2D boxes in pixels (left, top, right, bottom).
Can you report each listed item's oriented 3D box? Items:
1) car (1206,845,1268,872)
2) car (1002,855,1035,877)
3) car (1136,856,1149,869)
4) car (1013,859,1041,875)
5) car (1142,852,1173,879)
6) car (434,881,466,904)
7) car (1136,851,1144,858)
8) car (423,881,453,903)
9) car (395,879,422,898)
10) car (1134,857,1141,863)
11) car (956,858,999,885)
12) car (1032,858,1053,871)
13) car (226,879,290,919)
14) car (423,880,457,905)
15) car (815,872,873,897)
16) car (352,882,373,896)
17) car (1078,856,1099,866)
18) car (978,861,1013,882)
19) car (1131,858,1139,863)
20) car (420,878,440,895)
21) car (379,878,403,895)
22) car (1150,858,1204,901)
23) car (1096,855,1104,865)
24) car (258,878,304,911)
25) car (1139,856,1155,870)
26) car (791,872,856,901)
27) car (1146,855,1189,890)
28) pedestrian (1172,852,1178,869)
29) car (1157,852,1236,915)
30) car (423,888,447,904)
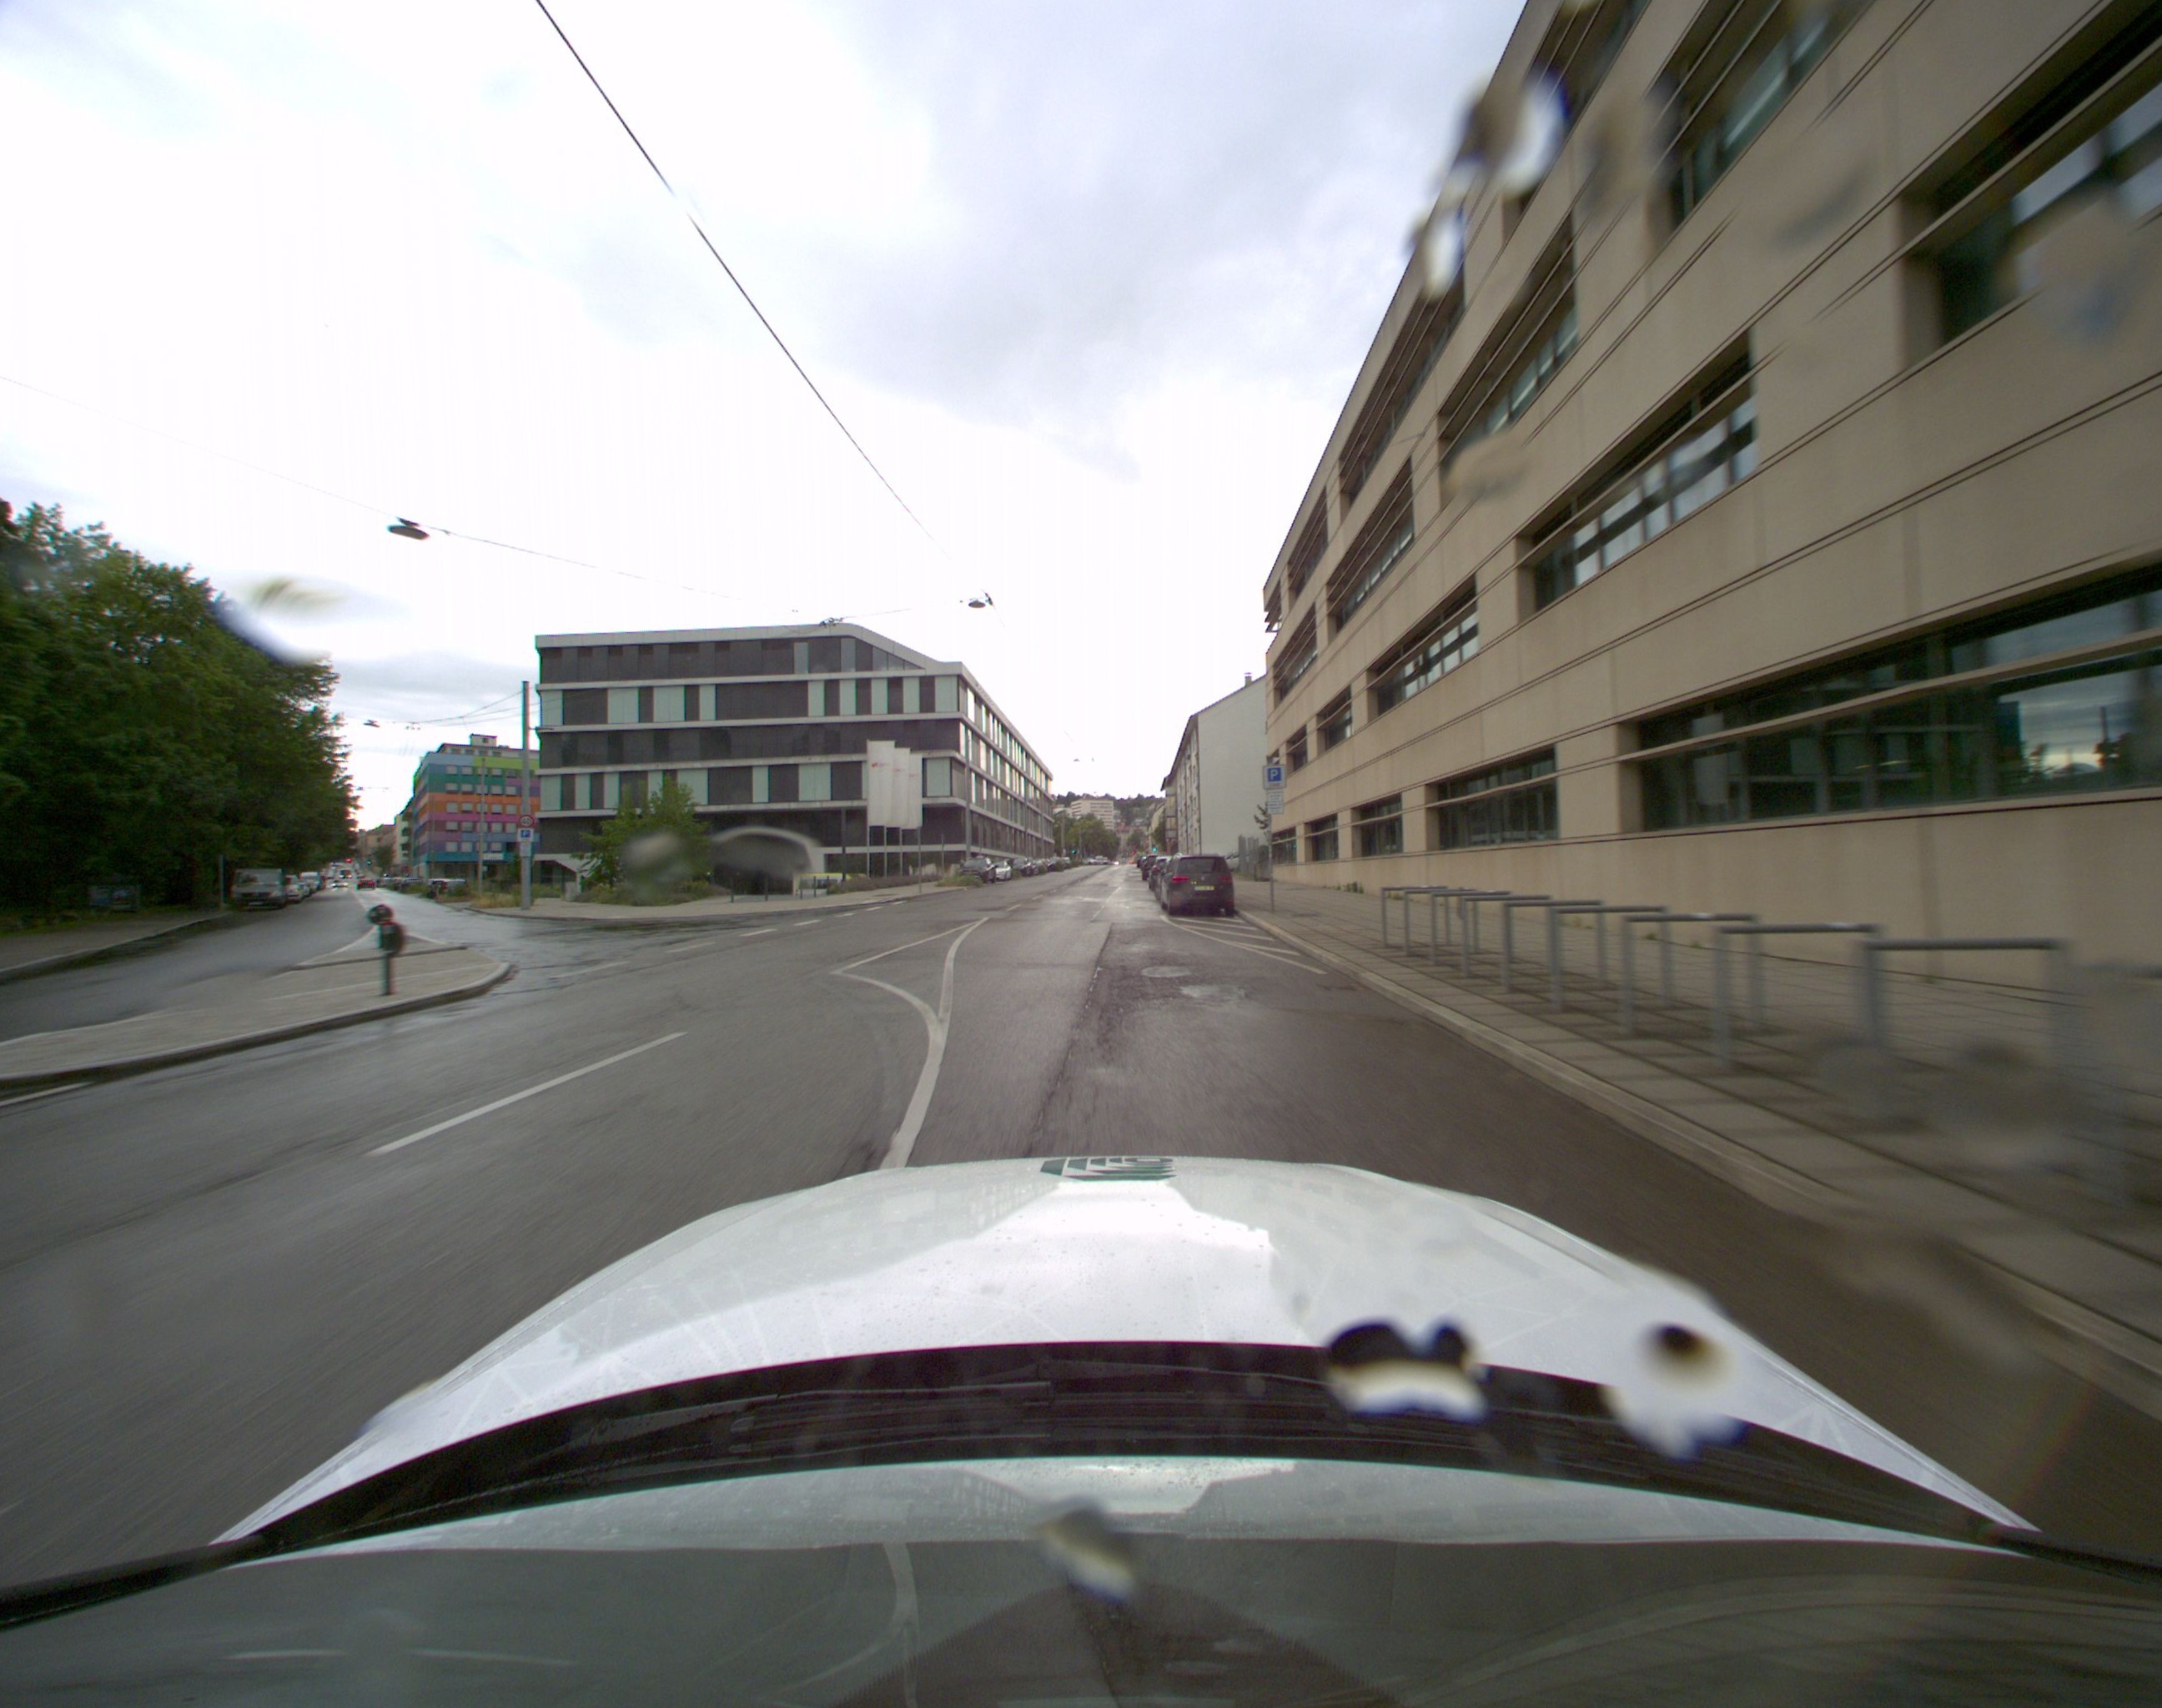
[{"bbox_3d":[12.266,0.359,64.255,4.420,1.712,1.906,-4,-1,2],"label":"car"},{"bbox_3d":[-5.208,0.980,68.615,1.953,1.750,4.950,-1,-1,6],"label":"car"},{"bbox_3d":[8.314,1.133,110.907,1.648,1.738,4.183,-1,0,3],"label":"car"},{"bbox_3d":[-4.914,1.175,74.562,1.863,1.473,4.745,-1,0,4],"label":"car"},{"bbox_3d":[5.219,0.751,56.052,1.927,1.750,4.801,-1,-1,3],"label":"car"},{"bbox_3d":[-43.521,2.637,56.159,1.676,1.450,3.824,0,-1,-38],"label":"car"},{"bbox_3d":[14.325,0.070,197.757,1.857,1.604,4.196,-1,-1,6],"label":"car"},{"bbox_3d":[-50.478,2.939,63.992,1.815,1.588,3.636,0,-1,-38],"label":"car"},{"bbox_3d":[-70.428,3.590,85.297,2.011,1.839,3.952,-1,0,-42],"label":"car"},{"bbox_3d":[16.109,1.777,232.437,1.857,1.604,4.196,-1,-1,6],"label":"car"},{"bbox_3d":[-6.546,1.060,51.797,1.841,1.617,4.495,-1,-1,4],"label":"car"},{"bbox_3d":[-4.249,1.173,90.433,1.829,1.396,4.396,-1,0,4],"label":"car"},{"bbox_3d":[-45.593,2.443,45.197,2.087,2.043,4.229,0,-1,-40],"label":"car"},{"bbox_3d":[-47.665,2.853,60.591,1.930,1.739,3.954,0,-1,-38],"label":"car"},{"bbox_3d":[-20.034,2.555,68.911,4.324,2.032,1.599,-1,-1,3],"label":"car"},{"bbox_3d":[-96.734,4.692,109.649,2.011,1.660,3.952,0,-1,-41],"label":"car"},{"bbox_3d":[1.445,1.481,161.047,4.152,1.669,1.650,-5,-6,43],"label":"car"},{"bbox_3d":[-6.092,1.233,58.490,1.813,1.419,4.406,-1,0,4],"label":"car"},{"bbox_3d":[15.969,1.911,240.633,1.857,1.604,4.196,-1,-1,6],"label":"car"},{"bbox_3d":[-63.076,3.157,78.923,1.449,1.494,3.597,-1,0,-38],"label":"car"},{"bbox_3d":[-82.434,3.876,97.275,2.011,1.839,3.952,-1,0,-42],"label":"car"},{"bbox_3d":[3.523,0.921,30.460,1.718,1.512,4.060,1,-1,3],"label":"car"},{"bbox_3d":[5.003,1.638,218.552,2.097,2.546,4.752,-1,-1,1],"label":"car"},{"bbox_3d":[-54.595,2.688,55.534,4.777,2.097,2.182,-1,-1,45],"label":"car"},{"bbox_3d":[7.338,0.973,90.325,1.699,1.454,3.988,-1,-1,3],"label":"car"},{"bbox_3d":[-20.488,2.541,64.867,4.579,2.174,1.929,-1,-1,-3],"label":"car"},{"bbox_3d":[4.112,0.856,39.139,1.736,1.533,4.321,-1,-1,2],"label":"car"},{"bbox_3d":[10.567,0.769,91.432,0.636,1.870,0.539,-1,-1,5],"label":"pedestrian"},{"bbox_3d":[3.206,0.779,23.361,1.764,1.604,4.396,-1,-1,2],"label":"car"},{"bbox_3d":[-53.218,3.455,67.131,1.488,1.241,3.361,0,-1,-38],"label":"car"}]
